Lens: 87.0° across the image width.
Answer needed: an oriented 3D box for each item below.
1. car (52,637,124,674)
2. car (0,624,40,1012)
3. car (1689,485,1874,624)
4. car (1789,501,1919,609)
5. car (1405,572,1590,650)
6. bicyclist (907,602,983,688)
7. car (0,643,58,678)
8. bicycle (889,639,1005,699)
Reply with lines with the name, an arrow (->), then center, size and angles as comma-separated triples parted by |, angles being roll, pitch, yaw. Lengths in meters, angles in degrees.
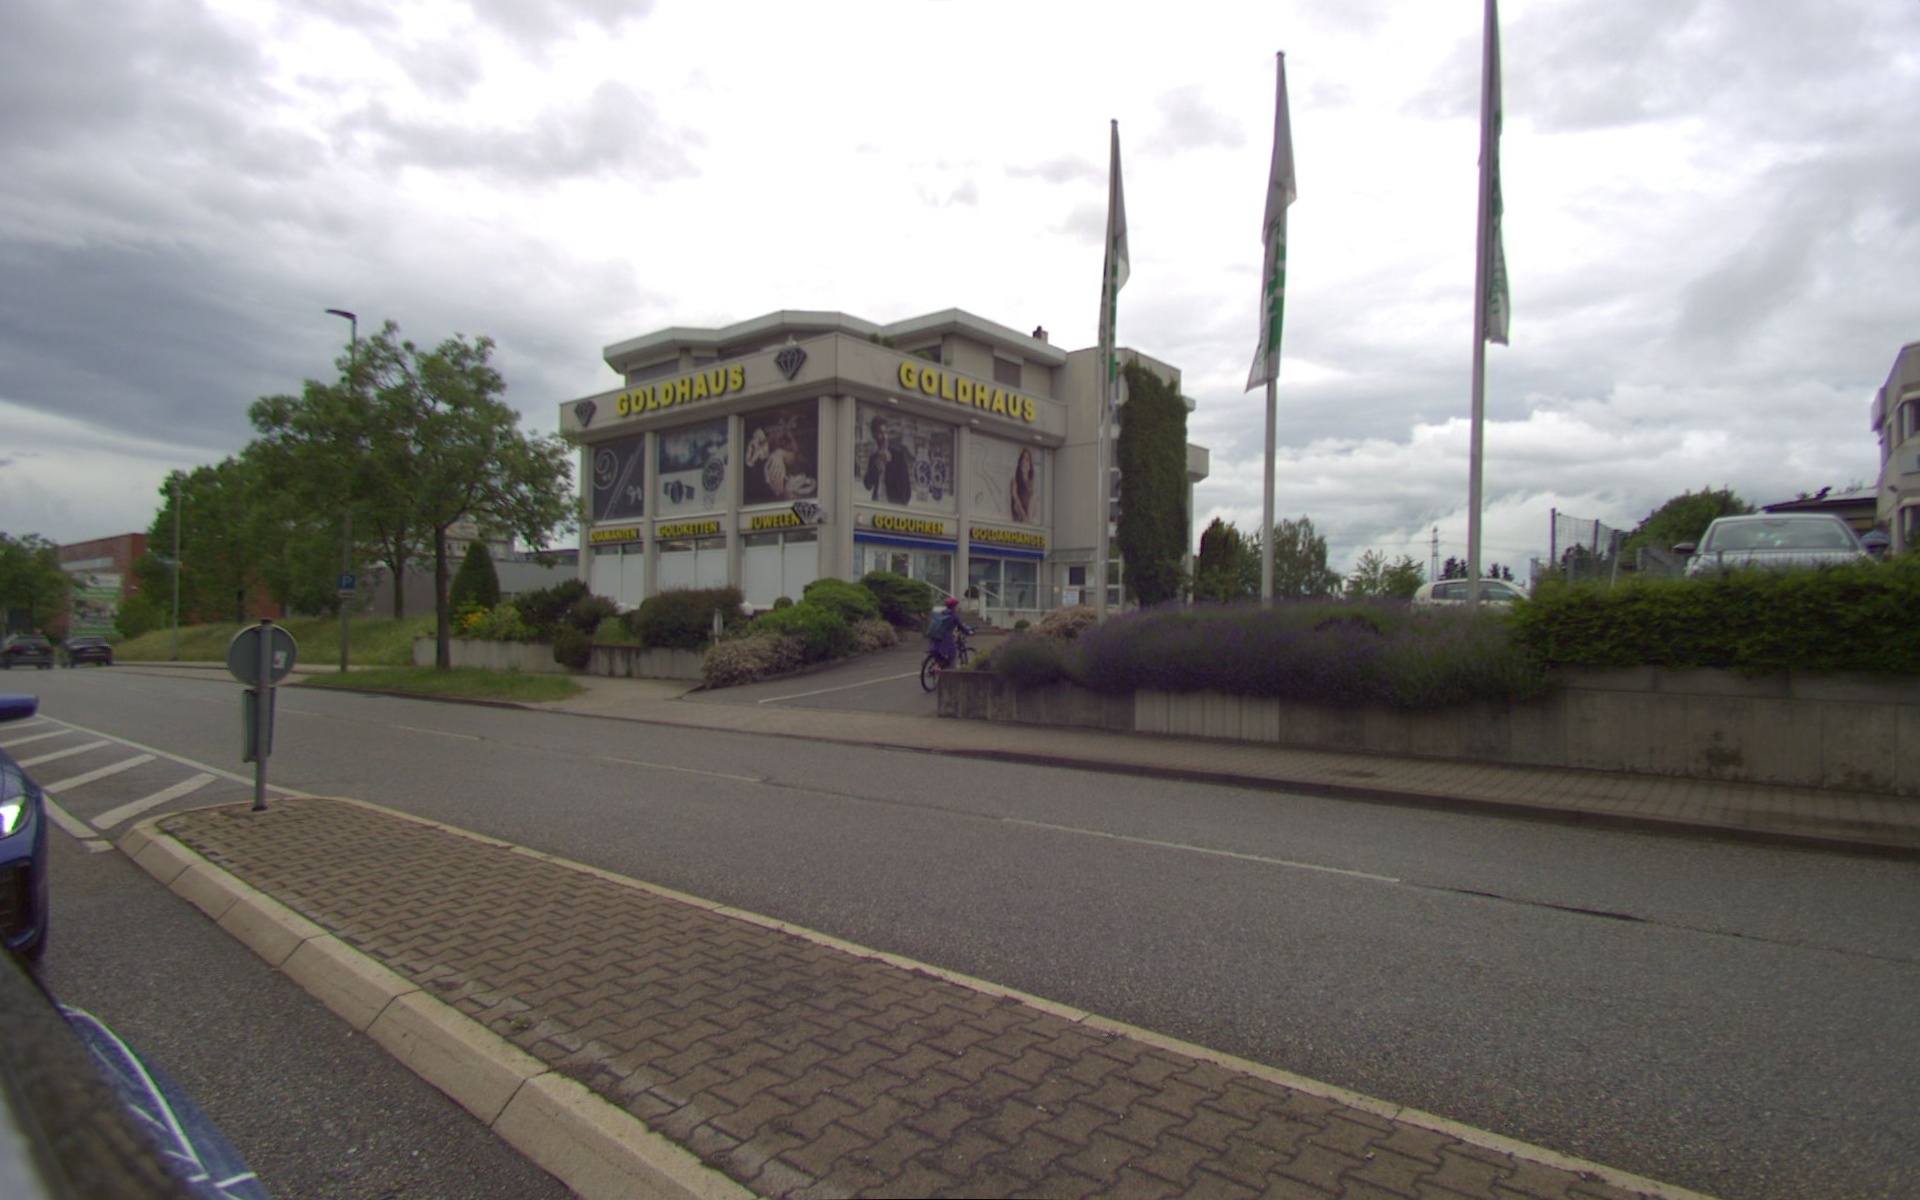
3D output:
car -> -47.147, 3.009, 54.673 | 4.541, 1.905, 2.320 | -4, -4, 41
car -> -5.896, 0.856, 4.723 | 4.593, 1.468, 1.762 | -1, -1, 40
car -> 9.522, -0.403, 11.678 | 1.454, 1.347, 3.350 | -2, -2, 42
car -> 14.386, -0.635, 16.329 | 1.452, 1.484, 3.353 | -2, -2, 38
car -> 11.953, 0.283, 22.607 | 3.384, 1.609, 1.511 | -2, -2, 41
bicyclist -> -0.275, 0.823, 18.910 | 0.909, 1.453, 1.014 | -2, 3, 39
car -> -45.347, 2.936, 49.136 | 4.000, 1.608, 1.971 | -4, -4, 44
bicycle -> -0.203, 1.259, 18.974 | 0.909, 0.820, 2.264 | -2, 4, 39
